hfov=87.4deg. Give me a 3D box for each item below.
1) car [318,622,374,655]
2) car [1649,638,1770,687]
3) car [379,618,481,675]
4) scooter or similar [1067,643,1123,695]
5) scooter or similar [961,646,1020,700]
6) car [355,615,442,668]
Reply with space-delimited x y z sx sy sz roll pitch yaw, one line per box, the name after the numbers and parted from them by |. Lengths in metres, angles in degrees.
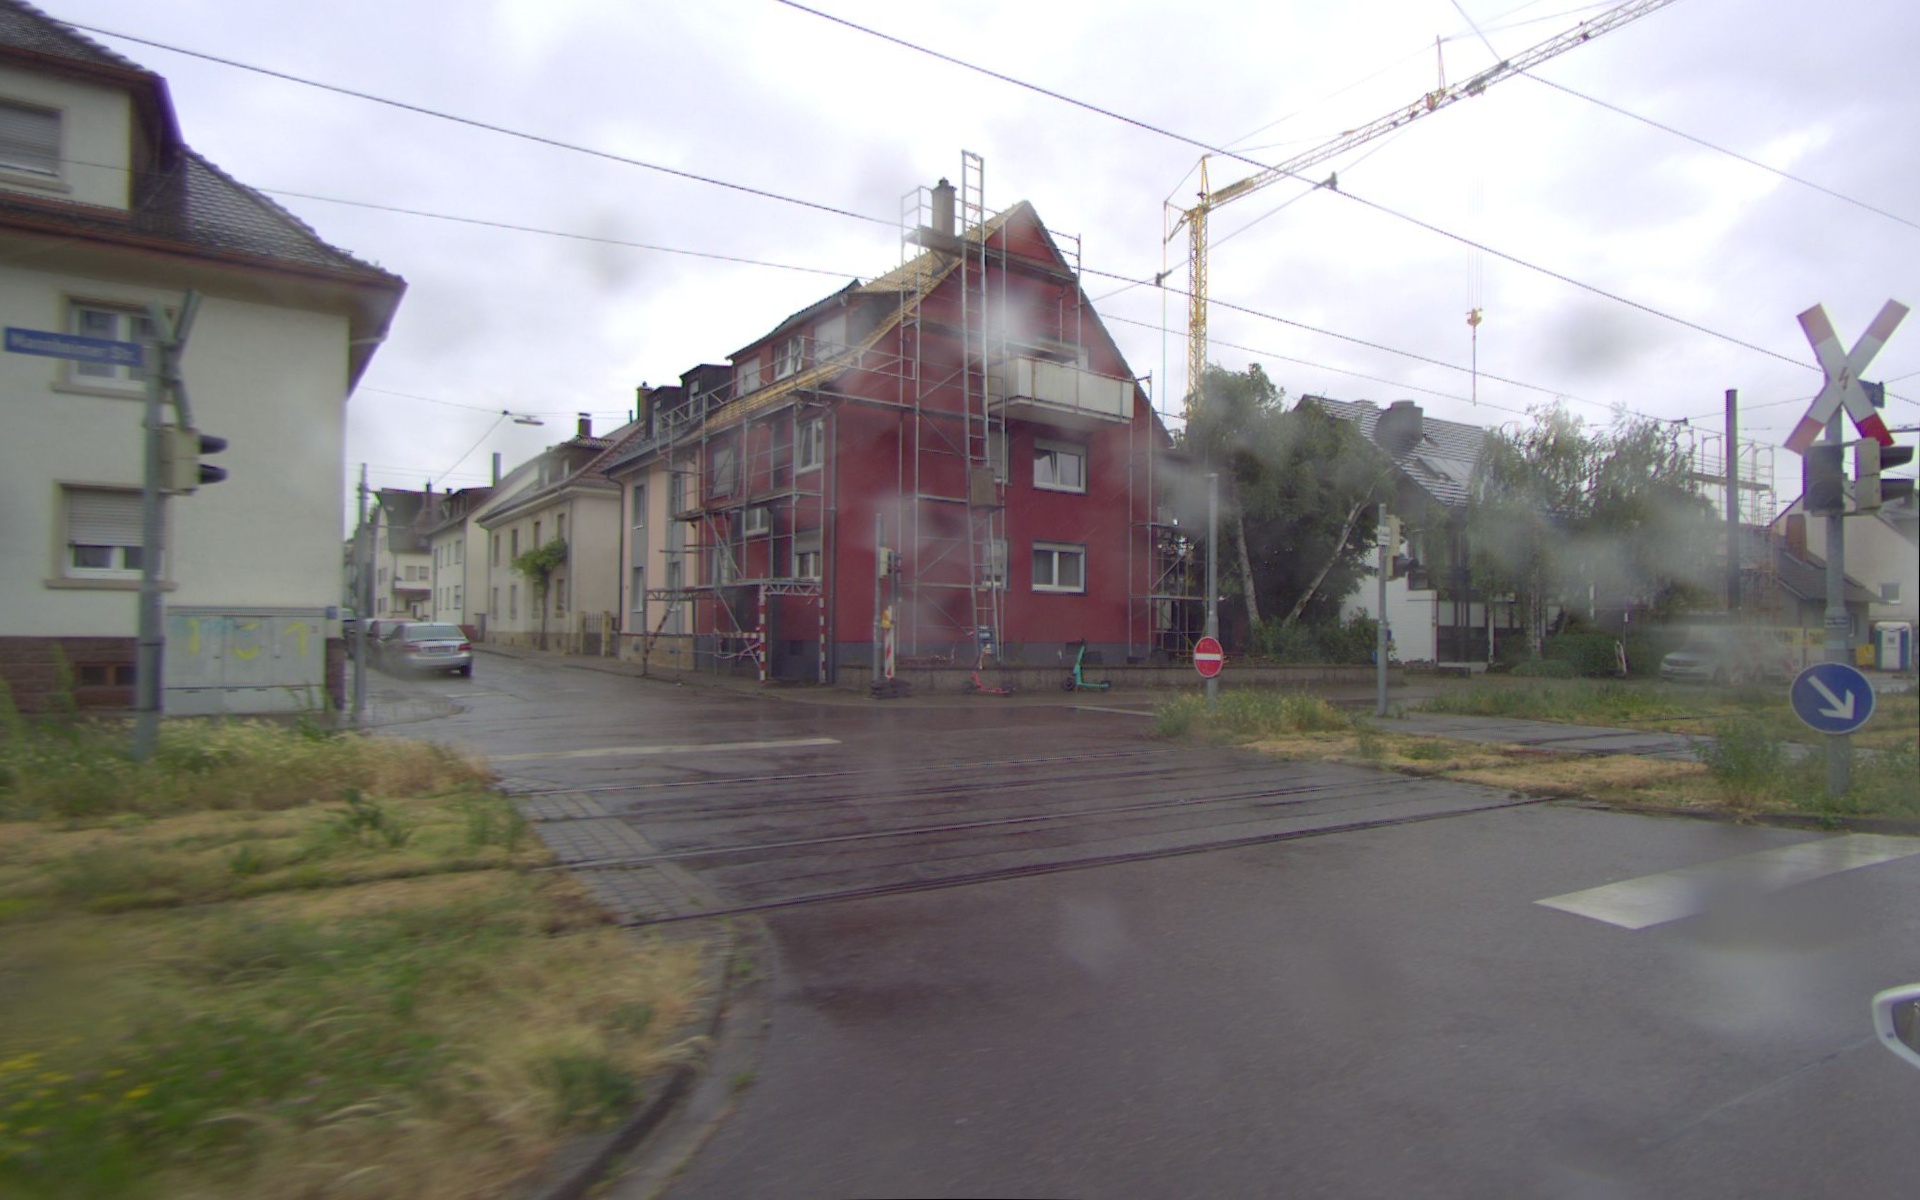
-27.923 1.734 45.630 1.776 1.385 4.320 2 -2 -37 | car
26.157 2.147 35.043 4.367 1.563 1.703 2 0 -29 | car
-14.618 1.248 27.593 1.826 1.419 4.320 2 -2 -37 | car
3.196 1.634 23.793 1.261 1.196 0.394 1 -2 -15 | scooter or similar
0.665 1.590 22.039 1.257 1.144 0.441 1 -2 0 | scooter or similar
-17.756 1.285 31.693 1.826 1.540 4.320 2 -2 -37 | car
